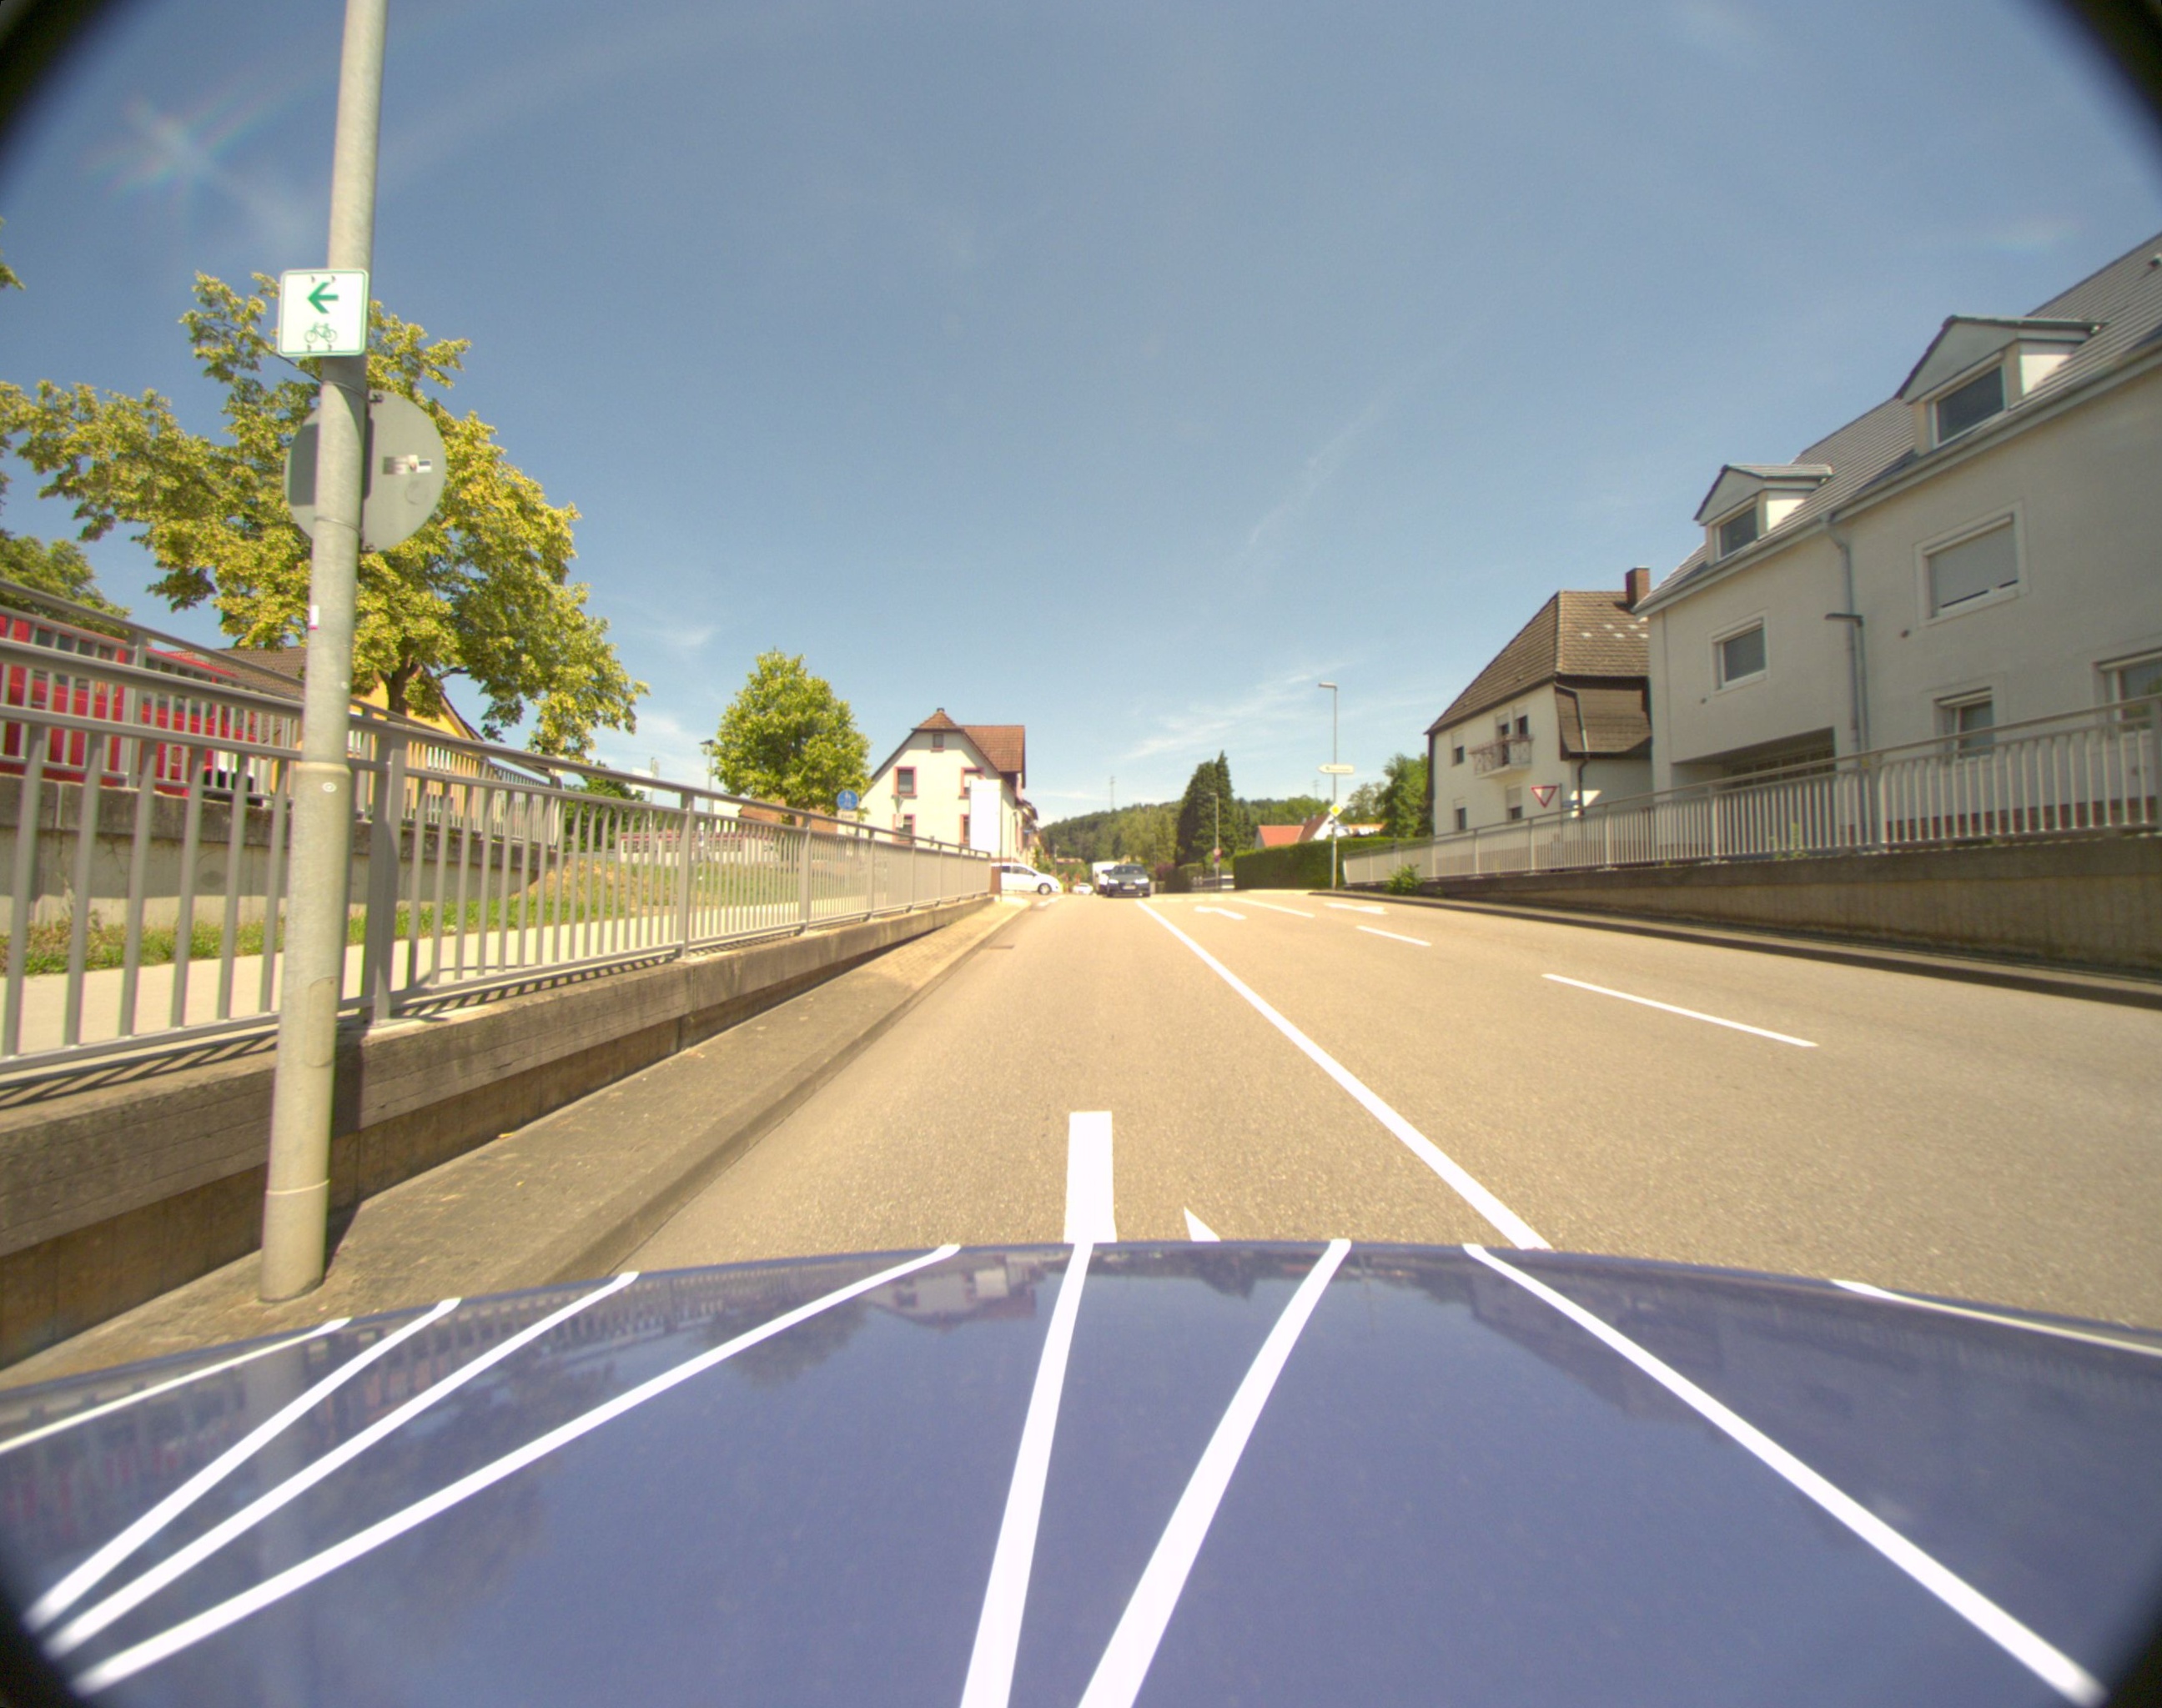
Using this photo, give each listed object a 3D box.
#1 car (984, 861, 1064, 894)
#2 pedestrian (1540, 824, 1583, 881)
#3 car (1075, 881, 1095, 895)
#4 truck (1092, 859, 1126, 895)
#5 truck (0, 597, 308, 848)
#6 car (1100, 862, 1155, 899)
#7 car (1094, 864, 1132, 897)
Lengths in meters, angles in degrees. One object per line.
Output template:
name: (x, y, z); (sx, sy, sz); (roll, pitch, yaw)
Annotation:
car: (-2.721, 1.144, 36.378); (3.681, 1.469, 1.775); (1, -1, -5)
pedestrian: (15.039, -0.038, 23.790); (0.729, 1.719, 0.856); (-2, 0, -2)
car: (0.518, 3.865, 86.116); (1.998, 1.509, 4.147); (0, -3, 4)
truck: (2.719, 2.420, 77.307); (3.149, 3.465, 8.275); (-1, -2, 0)
truck: (-11.901, -1.387, 7.962); (2.137, 2.319, 5.262); (0, -3, 0)
car: (1.901, 1.095, 32.219); (1.864, 1.441, 4.000); (-2, -1, -2)
car: (2.078, 1.730, 50.350); (1.999, 2.001, 4.547); (-2, -1, -3)
